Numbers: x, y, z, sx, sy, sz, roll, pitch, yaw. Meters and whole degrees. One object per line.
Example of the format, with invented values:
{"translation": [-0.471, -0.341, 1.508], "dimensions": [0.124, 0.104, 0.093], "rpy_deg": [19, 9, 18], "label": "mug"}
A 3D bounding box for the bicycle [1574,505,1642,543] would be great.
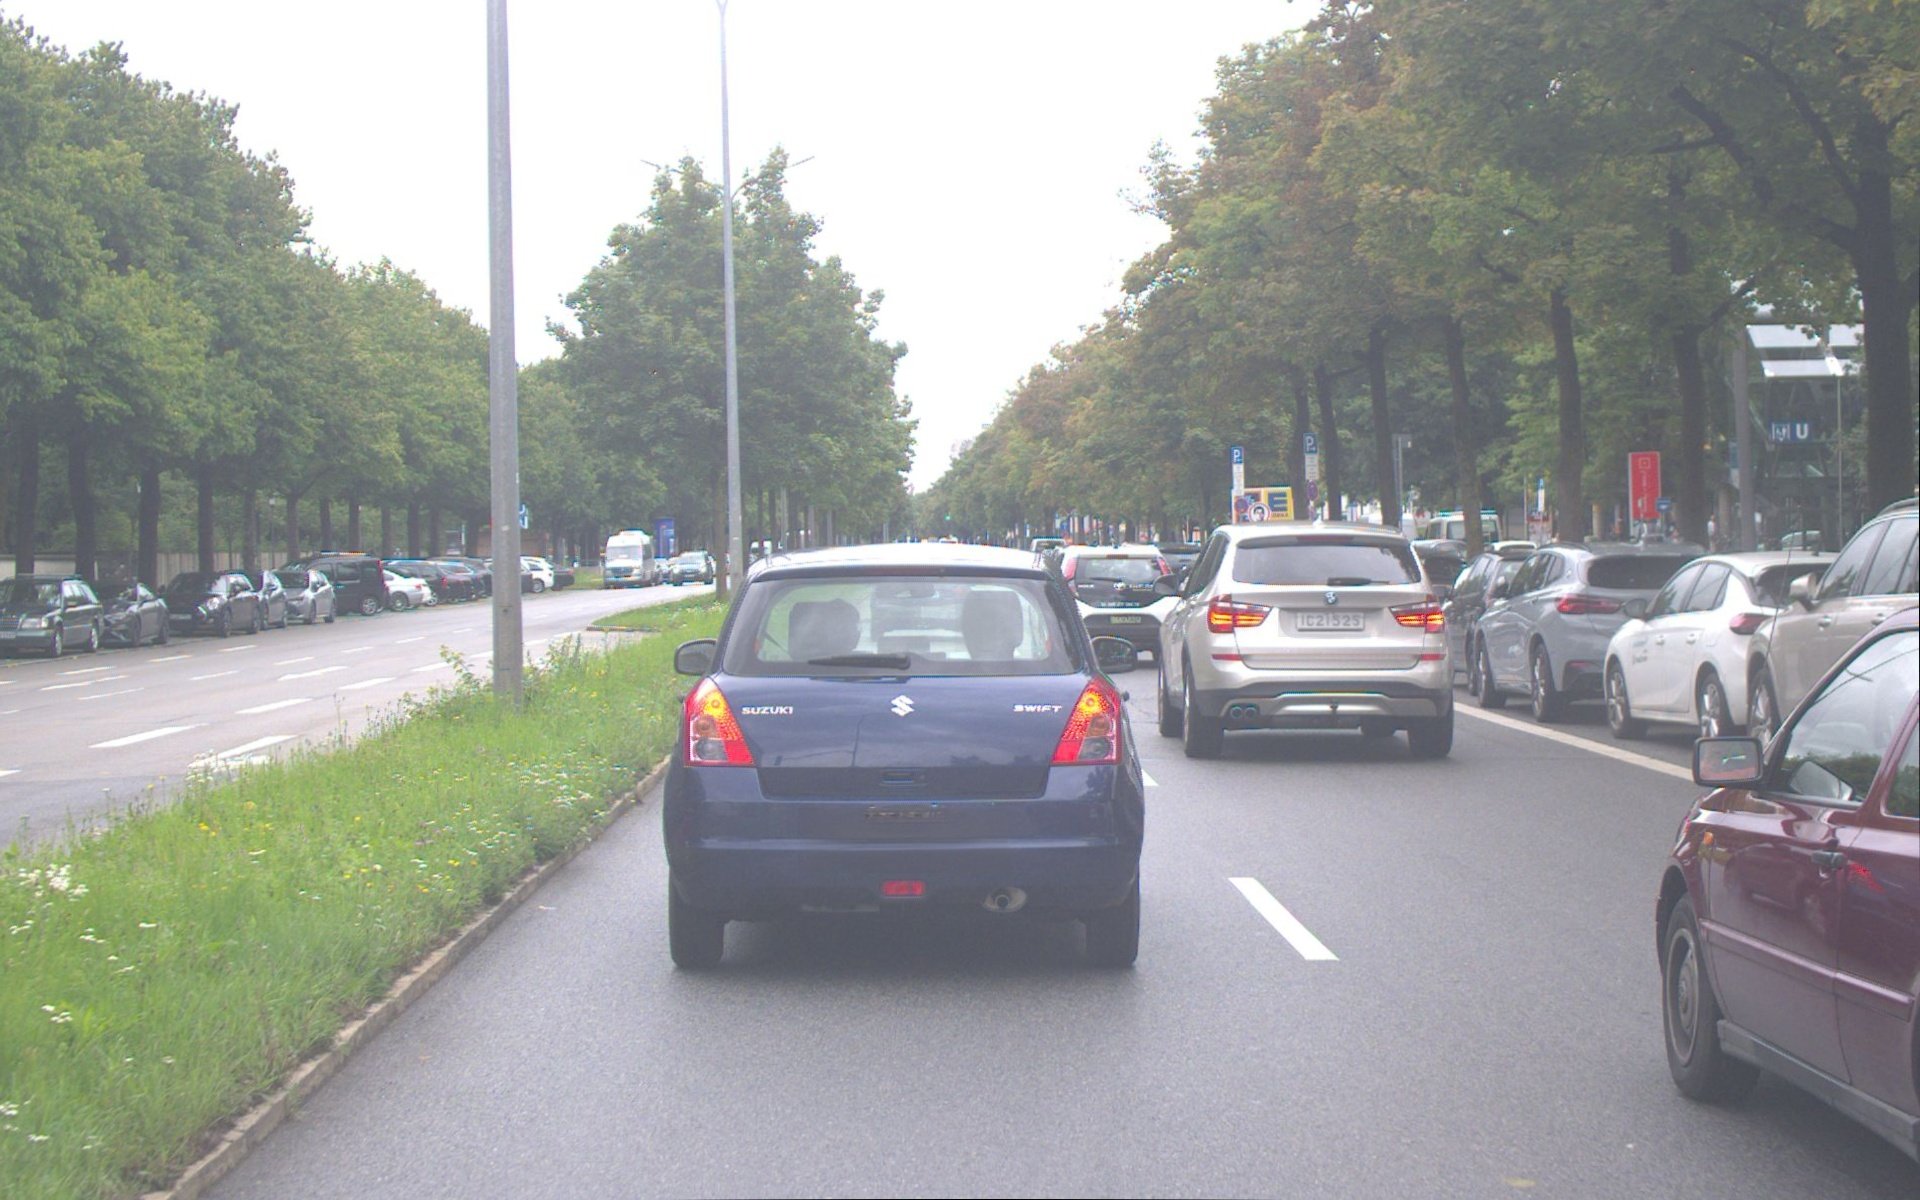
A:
{"translation": [26.878, -3.145, 142.561], "dimensions": [2.609, 1.502, 0.798], "rpy_deg": [-1, 1, -6], "label": "bicycle"}

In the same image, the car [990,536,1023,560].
{"translation": [2.930, -3.312, 217.881], "dimensions": [1.850, 1.442, 4.098], "rpy_deg": [-1, 1, -2], "label": "car"}

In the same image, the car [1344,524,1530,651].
{"translation": [6.034, -0.196, 43.875], "dimensions": [1.717, 1.503, 4.224], "rpy_deg": [-1, 1, -1], "label": "car"}

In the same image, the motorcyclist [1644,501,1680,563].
{"translation": [20.584, -1.995, 100.756], "dimensions": [0.691, 1.731, 0.953], "rpy_deg": [-6, 1, 0], "label": "motorcyclist"}

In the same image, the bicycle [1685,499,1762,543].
{"translation": [27.553, -2.850, 124.034], "dimensions": [2.609, 1.502, 0.798], "rpy_deg": [-2, 1, -14], "label": "bicycle"}

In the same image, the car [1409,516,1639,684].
{"translation": [5.733, -0.040, 35.373], "dimensions": [1.542, 1.529, 4.091], "rpy_deg": [4, 1, -1], "label": "car"}

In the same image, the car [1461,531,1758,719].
{"translation": [5.631, 0.162, 30.331], "dimensions": [1.720, 1.529, 4.399], "rpy_deg": [0, 1, -1], "label": "car"}

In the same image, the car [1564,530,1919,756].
{"translation": [5.812, 0.248, 25.561], "dimensions": [1.702, 1.503, 4.504], "rpy_deg": [-1, 1, -2], "label": "car"}

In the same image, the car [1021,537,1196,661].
{"translation": [1.812, -0.049, 43.202], "dimensions": [1.850, 1.442, 4.098], "rpy_deg": [-1, 1, -2], "label": "car"}

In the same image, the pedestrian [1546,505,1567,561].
{"translation": [18.883, -2.127, 108.822], "dimensions": [0.575, 1.745, 0.732], "rpy_deg": [-1, 1, 4], "label": "pedestrian"}

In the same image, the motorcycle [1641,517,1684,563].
{"translation": [20.613, -1.767, 100.932], "dimensions": [0.696, 1.286, 2.066], "rpy_deg": [-6, 1, -1], "label": "motorcycle"}

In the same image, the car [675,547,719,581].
{"translation": [-12.704, -1.748, 166.323], "dimensions": [1.913, 1.537, 4.188], "rpy_deg": [-1, 1, -2], "label": "car"}

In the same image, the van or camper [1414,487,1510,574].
{"translation": [15.372, -2.145, 105.523], "dimensions": [1.993, 2.549, 5.957], "rpy_deg": [-1, 1, 0], "label": "van or camper"}

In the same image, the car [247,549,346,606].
{"translation": [-17.509, -0.605, 90.904], "dimensions": [1.636, 1.434, 4.809], "rpy_deg": [0, 1, 1], "label": "car"}

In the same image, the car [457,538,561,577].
{"translation": [-19.967, -1.886, 152.328], "dimensions": [4.095, 1.579, 1.919], "rpy_deg": [-2, 1, -34], "label": "car"}

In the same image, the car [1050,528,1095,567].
{"translation": [4.507, -2.135, 138.381], "dimensions": [1.684, 1.520, 4.456], "rpy_deg": [0, 1, 0], "label": "car"}

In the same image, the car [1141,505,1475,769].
{"translation": [2.444, 0.207, 25.103], "dimensions": [1.850, 1.737, 4.098], "rpy_deg": [-1, 1, -2], "label": "car"}

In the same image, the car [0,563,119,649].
{"translation": [-17.222, 0.076, 64.345], "dimensions": [1.799, 1.485, 4.915], "rpy_deg": [0, 1, -1], "label": "car"}

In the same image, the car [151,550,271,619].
{"translation": [-17.106, -0.375, 78.709], "dimensions": [1.571, 1.498, 4.303], "rpy_deg": [0, 1, 3], "label": "car"}

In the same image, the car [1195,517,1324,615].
{"translation": [5.327, -0.631, 61.652], "dimensions": [1.786, 1.669, 4.596], "rpy_deg": [-1, 1, -1], "label": "car"}

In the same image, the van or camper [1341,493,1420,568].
{"translation": [14.910, -2.473, 122.147], "dimensions": [2.024, 2.549, 5.957], "rpy_deg": [-1, 1, 0], "label": "van or camper"}

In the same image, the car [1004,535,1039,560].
{"translation": [3.651, -3.140, 204.036], "dimensions": [1.850, 1.442, 4.098], "rpy_deg": [-1, 1, -2], "label": "car"}

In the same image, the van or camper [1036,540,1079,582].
{"translation": [4.711, -1.906, 166.072], "dimensions": [1.944, 1.968, 4.306], "rpy_deg": [-1, 1, 0], "label": "van or camper"}

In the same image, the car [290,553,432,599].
{"translation": [-18.917, -0.761, 108.572], "dimensions": [3.988, 1.349, 1.850], "rpy_deg": [-2, 1, -35], "label": "car"}

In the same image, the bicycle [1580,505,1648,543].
{"translation": [26.933, -3.126, 141.686], "dimensions": [2.609, 1.502, 0.798], "rpy_deg": [-1, 1, -6], "label": "bicycle"}

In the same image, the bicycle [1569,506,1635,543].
{"translation": [27.196, -3.210, 145.712], "dimensions": [2.609, 1.502, 0.798], "rpy_deg": [-1, 1, -6], "label": "bicycle"}

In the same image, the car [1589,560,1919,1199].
{"translation": [2.676, 0.650, 7.969], "dimensions": [1.622, 1.449, 3.950], "rpy_deg": [-1, 1, -1], "label": "car"}

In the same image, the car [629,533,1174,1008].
{"translation": [-0.268, 0.529, 13.464], "dimensions": [1.789, 1.550, 4.001], "rpy_deg": [-1, 1, -2], "label": "car"}

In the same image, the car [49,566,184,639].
{"translation": [-17.202, 0.030, 70.305], "dimensions": [1.659, 1.391, 4.707], "rpy_deg": [0, 1, -1], "label": "car"}

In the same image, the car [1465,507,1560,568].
{"translation": [15.592, -1.780, 97.110], "dimensions": [1.993, 1.645, 4.000], "rpy_deg": [-1, 1, 0], "label": "car"}

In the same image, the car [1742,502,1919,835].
{"translation": [5.821, 0.310, 19.228], "dimensions": [1.747, 1.718, 4.906], "rpy_deg": [0, 2, 0], "label": "car"}

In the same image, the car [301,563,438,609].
{"translation": [-19.096, -0.449, 111.276], "dimensions": [4.031, 1.377, 1.674], "rpy_deg": [-2, 1, -36], "label": "car"}

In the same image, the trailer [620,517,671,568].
{"translation": [-16.375, -3.017, 179.421], "dimensions": [2.106, 2.531, 5.577], "rpy_deg": [-1, 1, 0], "label": "trailer"}
